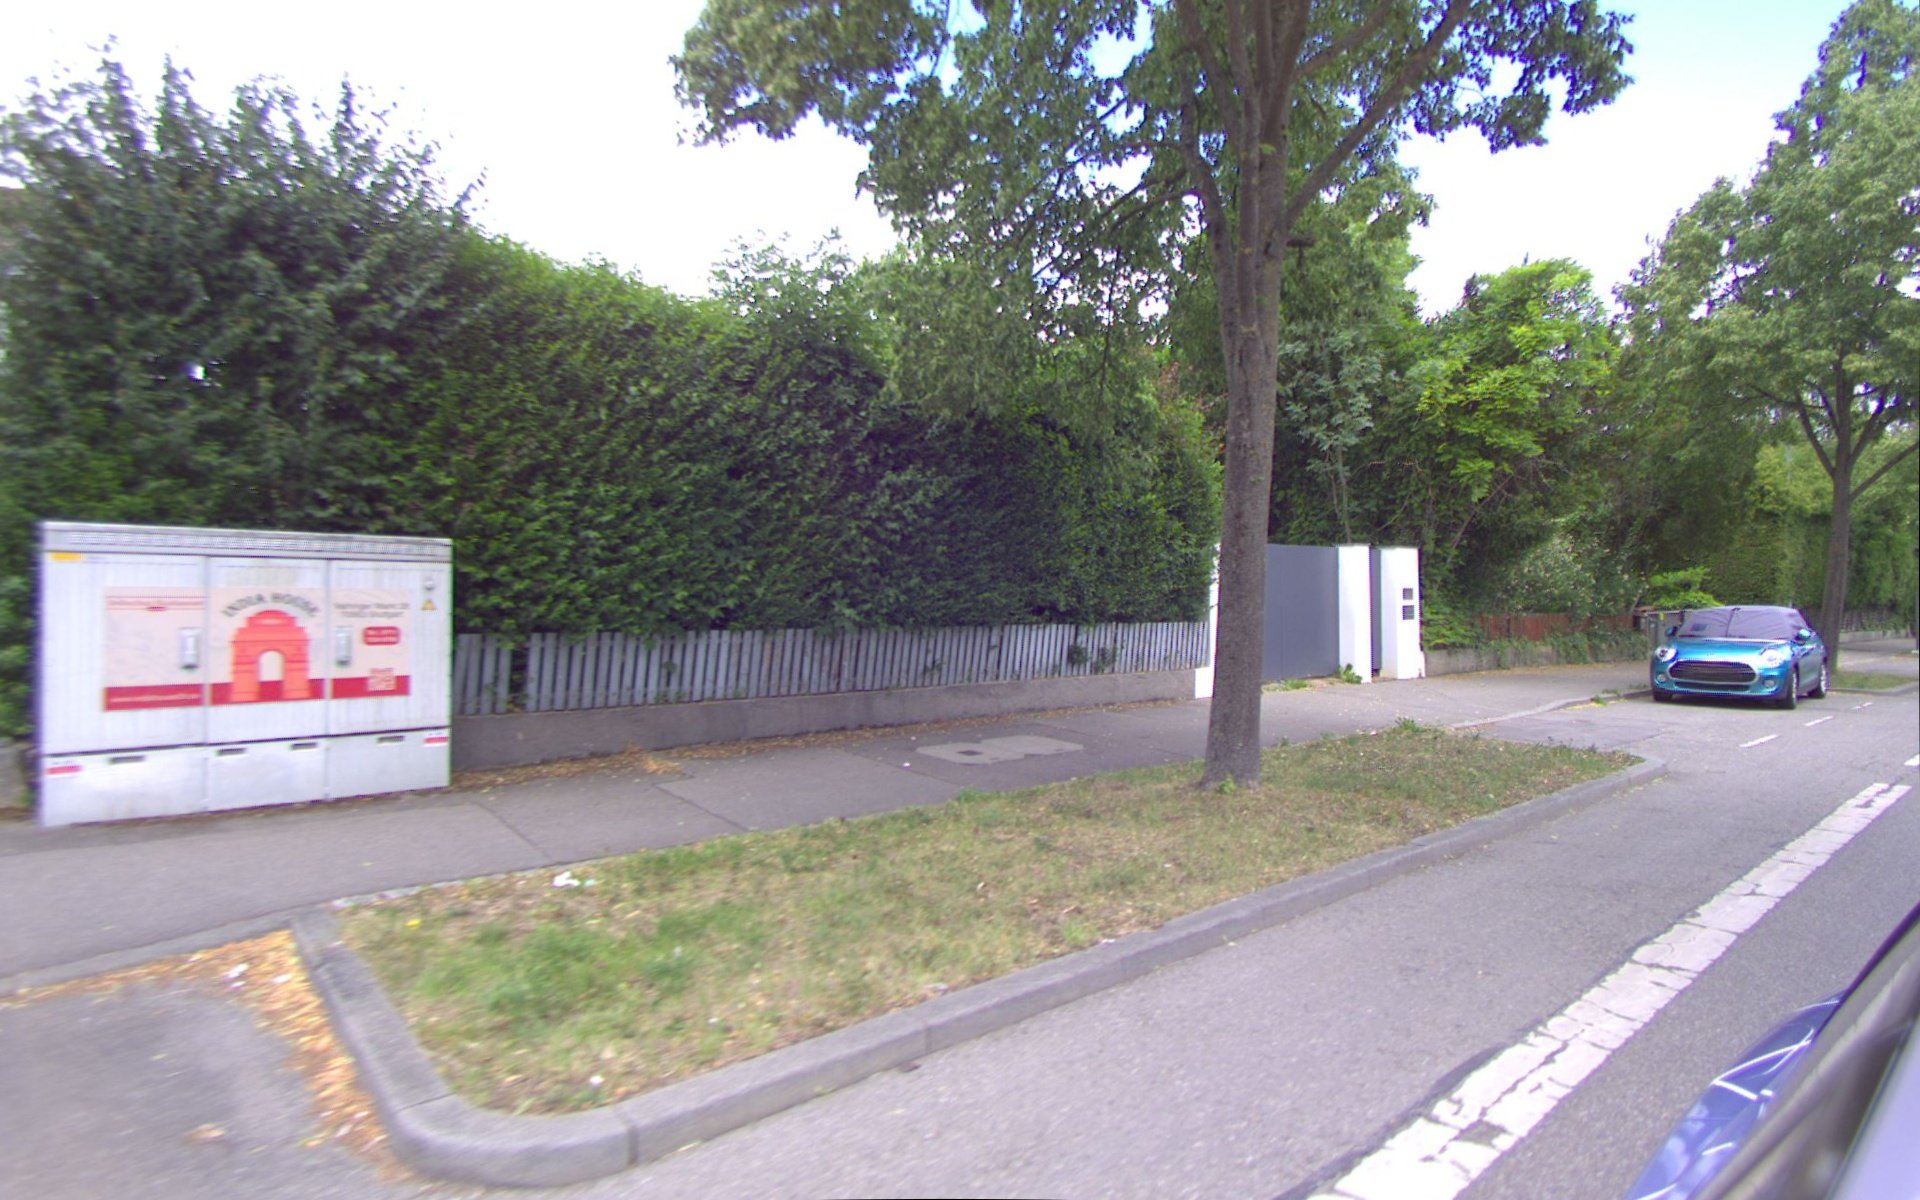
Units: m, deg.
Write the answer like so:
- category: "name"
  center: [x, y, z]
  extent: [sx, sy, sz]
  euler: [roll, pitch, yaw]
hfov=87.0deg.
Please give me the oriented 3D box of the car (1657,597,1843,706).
- category: "car"
  center: [12.061, 0.683, 15.376]
  extent: [3.595, 1.424, 1.665]
  euler: [-1, 1, -42]
